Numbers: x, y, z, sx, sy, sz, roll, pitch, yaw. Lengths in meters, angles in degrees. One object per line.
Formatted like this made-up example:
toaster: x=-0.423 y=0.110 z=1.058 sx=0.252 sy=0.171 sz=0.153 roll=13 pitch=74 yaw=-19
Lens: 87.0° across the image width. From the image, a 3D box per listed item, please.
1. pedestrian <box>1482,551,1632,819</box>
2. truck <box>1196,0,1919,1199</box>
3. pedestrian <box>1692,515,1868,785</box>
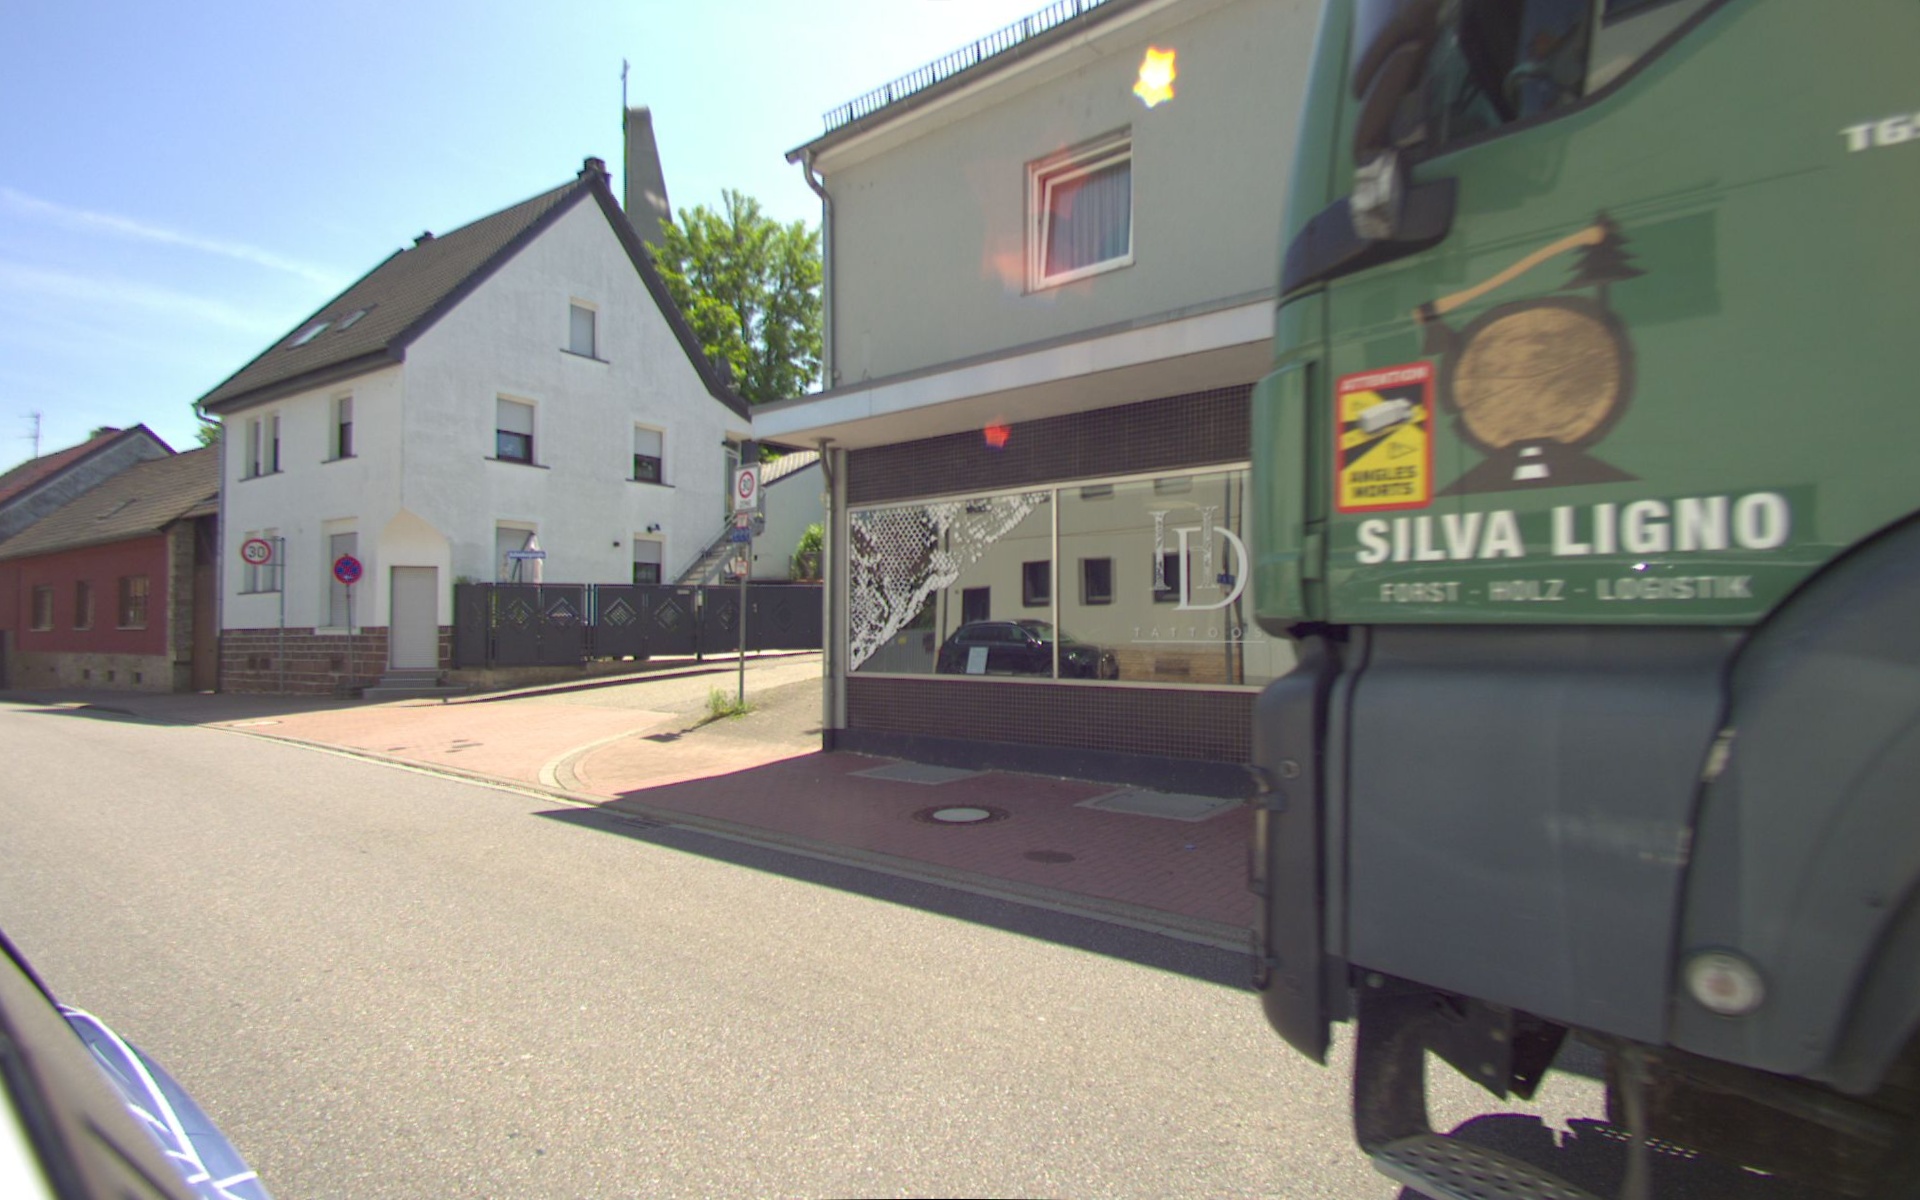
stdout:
pedestrian: x=4.066 y=0.543 z=6.896 sx=0.770 sy=1.697 sz=0.618 roll=-2 pitch=-1 yaw=39
truck: x=3.846 y=-0.550 z=0.542 sx=6.846 sy=4.016 sz=2.592 roll=-1 pitch=-3 yaw=40
pedestrian: x=5.529 y=0.315 z=6.850 sx=0.655 sy=1.726 sz=0.632 roll=-1 pitch=0 yaw=-9
